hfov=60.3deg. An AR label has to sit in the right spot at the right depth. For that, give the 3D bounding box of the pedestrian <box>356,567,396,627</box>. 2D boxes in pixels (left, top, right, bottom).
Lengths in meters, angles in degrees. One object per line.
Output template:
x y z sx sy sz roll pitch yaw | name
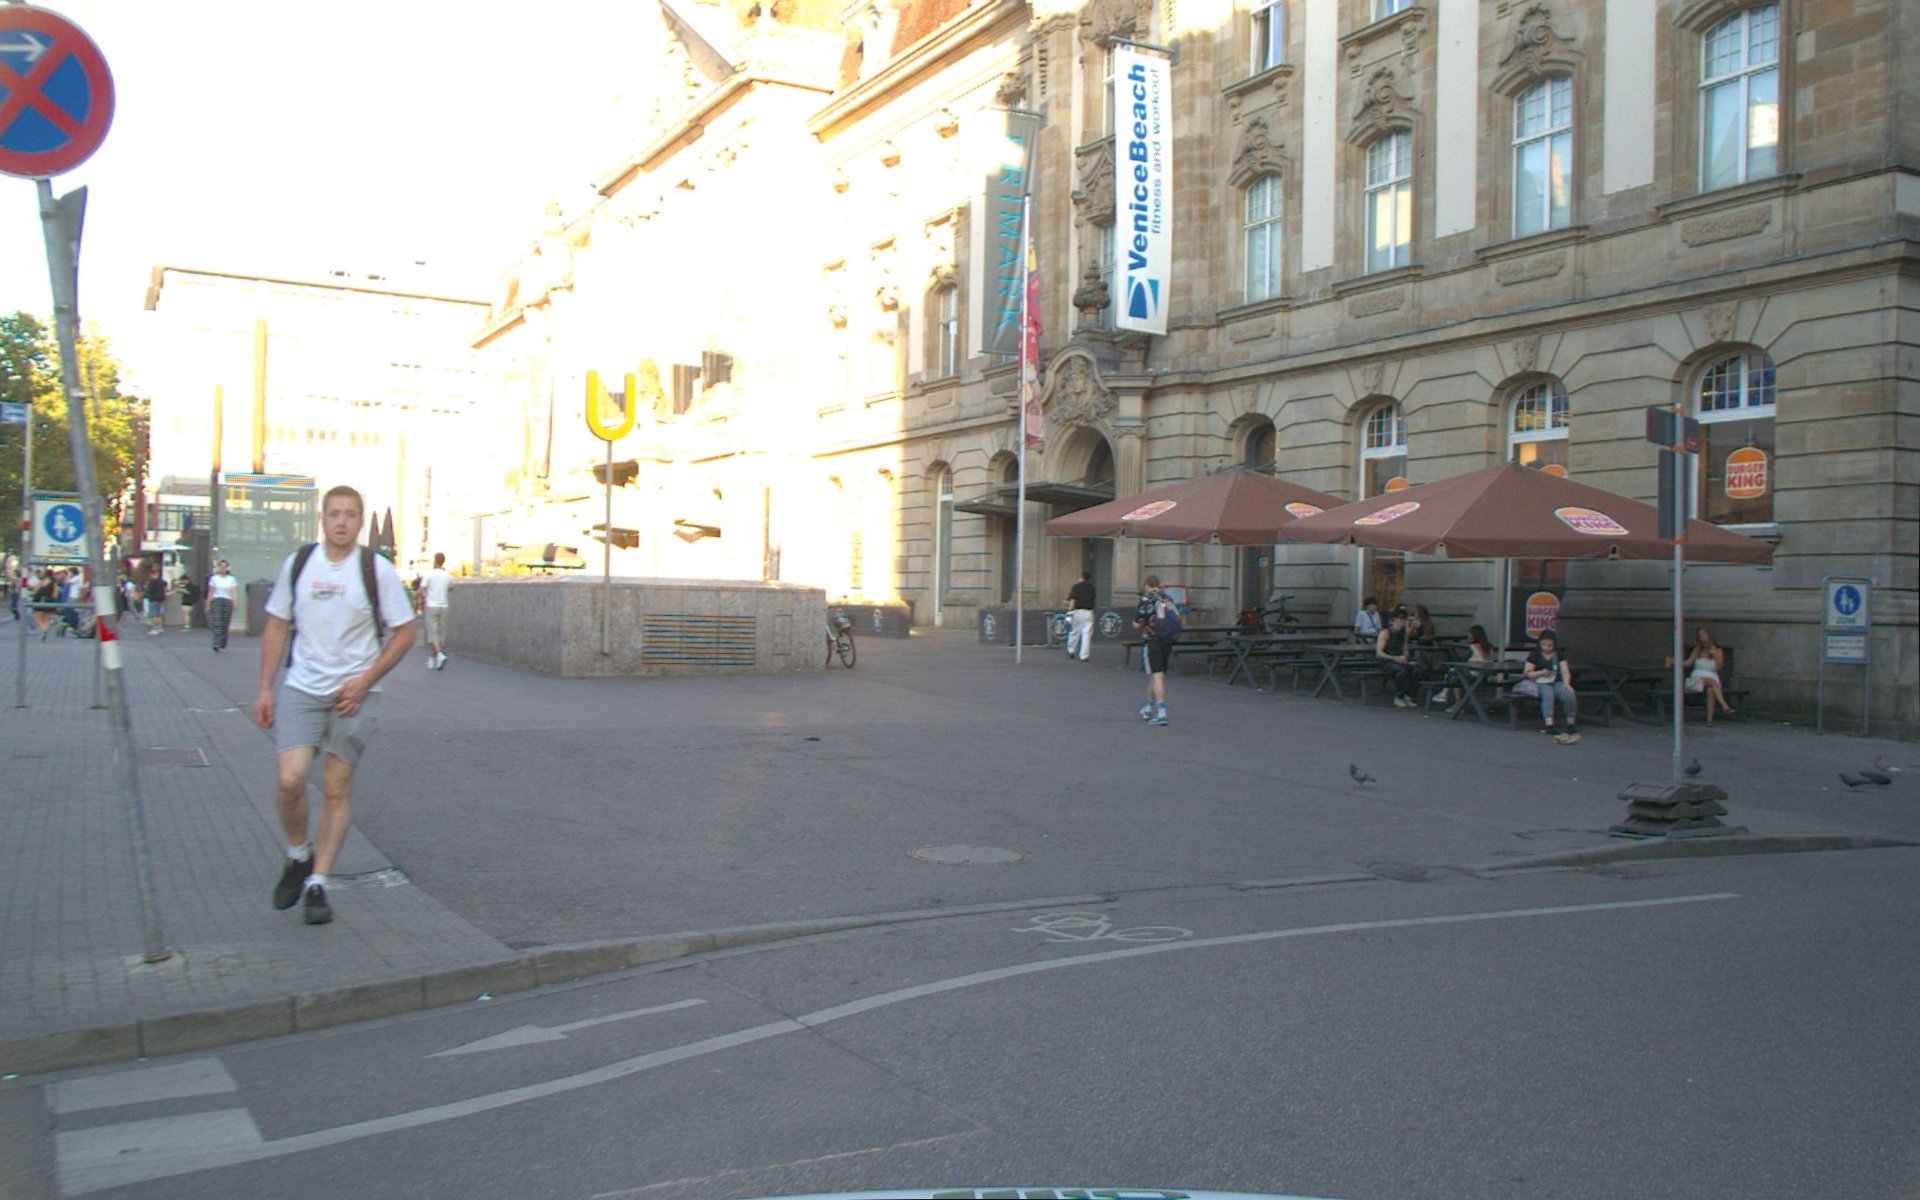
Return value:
-18.263 -0.085 51.726 0.757 1.855 0.850 1 0 23 | pedestrian

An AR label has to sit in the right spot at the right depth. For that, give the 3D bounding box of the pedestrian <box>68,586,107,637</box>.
-21.630 0.273 41.005 0.784 1.243 0.761 1 0 -32 | pedestrian

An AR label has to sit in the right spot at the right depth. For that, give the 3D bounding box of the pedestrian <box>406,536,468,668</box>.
-8.296 0.037 26.254 0.756 2.049 0.915 2 -1 -10 | pedestrian

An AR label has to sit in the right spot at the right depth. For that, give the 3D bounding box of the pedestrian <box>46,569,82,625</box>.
-27.830 -0.095 51.374 0.779 1.690 0.766 1 0 -16 | pedestrian

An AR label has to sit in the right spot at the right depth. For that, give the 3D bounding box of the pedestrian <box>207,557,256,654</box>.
-14.237 0.095 32.311 0.765 1.855 0.930 0 0 -31 | pedestrian

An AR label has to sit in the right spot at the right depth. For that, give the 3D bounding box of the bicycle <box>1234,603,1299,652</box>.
5.895 0.523 31.831 1.305 0.909 0.406 0 1 -33 | bicycle

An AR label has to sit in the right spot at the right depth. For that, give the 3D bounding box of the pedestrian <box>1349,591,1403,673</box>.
7.002 0.537 27.863 0.586 1.331 0.576 2 2 -33 | pedestrian

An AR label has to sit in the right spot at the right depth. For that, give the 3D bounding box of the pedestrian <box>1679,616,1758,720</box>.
10.320 0.921 22.524 0.649 1.331 0.773 1 3 -3 | pedestrian

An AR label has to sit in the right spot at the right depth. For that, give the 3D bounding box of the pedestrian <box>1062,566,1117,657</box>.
2.342 0.194 29.983 0.831 1.593 0.849 2 1 -5 | pedestrian

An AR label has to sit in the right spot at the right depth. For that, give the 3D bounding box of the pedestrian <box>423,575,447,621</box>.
-21.626 -0.091 68.134 0.765 1.857 0.841 1 0 -31 | pedestrian

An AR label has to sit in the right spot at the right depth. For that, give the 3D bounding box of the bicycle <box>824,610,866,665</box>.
-1.930 0.622 27.700 0.312 0.882 0.990 0 0 -29 | bicycle

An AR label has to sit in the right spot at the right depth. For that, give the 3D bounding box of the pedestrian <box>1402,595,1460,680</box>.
7.656 0.613 26.887 0.601 1.331 0.602 2 2 -33 | pedestrian

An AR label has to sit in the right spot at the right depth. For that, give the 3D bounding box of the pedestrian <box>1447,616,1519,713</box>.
7.113 0.874 22.500 0.605 1.247 0.698 2 2 -14 | pedestrian

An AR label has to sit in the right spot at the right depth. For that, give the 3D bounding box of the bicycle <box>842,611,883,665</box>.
-1.648 0.632 27.855 0.312 0.882 0.990 0 0 -29 | bicycle

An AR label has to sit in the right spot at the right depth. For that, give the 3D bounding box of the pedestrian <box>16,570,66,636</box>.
-22.878 0.065 41.193 0.751 1.606 0.795 1 0 2 | pedestrian

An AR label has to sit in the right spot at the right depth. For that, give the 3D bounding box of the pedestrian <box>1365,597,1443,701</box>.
6.306 0.694 23.515 0.791 1.407 0.650 2 2 -17 | pedestrian

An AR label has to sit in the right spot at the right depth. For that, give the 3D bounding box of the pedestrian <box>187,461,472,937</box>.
-2.701 0.410 7.230 0.997 1.896 1.038 2 -1 -15 | pedestrian

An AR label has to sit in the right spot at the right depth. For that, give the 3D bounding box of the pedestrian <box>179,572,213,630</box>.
-22.606 0.025 48.961 0.779 1.690 0.766 1 0 -16 | pedestrian

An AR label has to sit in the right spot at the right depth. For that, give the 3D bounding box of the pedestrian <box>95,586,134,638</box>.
-20.739 0.294 40.580 0.784 1.243 0.761 1 0 -32 | pedestrian

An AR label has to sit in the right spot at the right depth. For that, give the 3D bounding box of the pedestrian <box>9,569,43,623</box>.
-30.008 -0.132 53.159 0.754 1.690 0.791 1 0 -16 | pedestrian

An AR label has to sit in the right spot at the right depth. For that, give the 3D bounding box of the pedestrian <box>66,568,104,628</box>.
-25.089 -0.065 47.458 0.779 1.690 0.766 1 0 -16 | pedestrian

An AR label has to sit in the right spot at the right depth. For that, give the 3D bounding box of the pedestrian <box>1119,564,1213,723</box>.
2.470 0.510 19.912 0.798 1.855 0.800 1 1 -23 | pedestrian

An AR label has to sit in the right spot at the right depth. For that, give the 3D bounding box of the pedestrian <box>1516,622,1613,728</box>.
7.693 0.944 21.077 0.765 1.264 0.825 2 2 -14 | pedestrian

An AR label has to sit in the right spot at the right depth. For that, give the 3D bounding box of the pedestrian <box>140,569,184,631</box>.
-22.275 -0.001 46.171 0.776 1.690 0.769 1 0 21 | pedestrian

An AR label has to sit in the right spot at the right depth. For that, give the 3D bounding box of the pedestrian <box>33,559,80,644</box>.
-20.009 0.042 36.632 0.730 1.855 0.807 2 -1 -42 | pedestrian

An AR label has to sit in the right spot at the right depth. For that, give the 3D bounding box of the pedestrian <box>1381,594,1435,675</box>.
7.611 0.589 28.096 0.586 1.331 0.576 2 2 -30 | pedestrian

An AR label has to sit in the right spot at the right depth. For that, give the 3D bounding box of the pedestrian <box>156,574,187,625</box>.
-26.467 -0.005 55.497 0.779 1.690 0.766 1 0 -16 | pedestrian

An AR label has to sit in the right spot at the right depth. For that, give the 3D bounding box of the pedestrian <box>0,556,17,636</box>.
-22.422 -0.094 38.398 0.730 1.855 0.807 2 -1 -42 | pedestrian
